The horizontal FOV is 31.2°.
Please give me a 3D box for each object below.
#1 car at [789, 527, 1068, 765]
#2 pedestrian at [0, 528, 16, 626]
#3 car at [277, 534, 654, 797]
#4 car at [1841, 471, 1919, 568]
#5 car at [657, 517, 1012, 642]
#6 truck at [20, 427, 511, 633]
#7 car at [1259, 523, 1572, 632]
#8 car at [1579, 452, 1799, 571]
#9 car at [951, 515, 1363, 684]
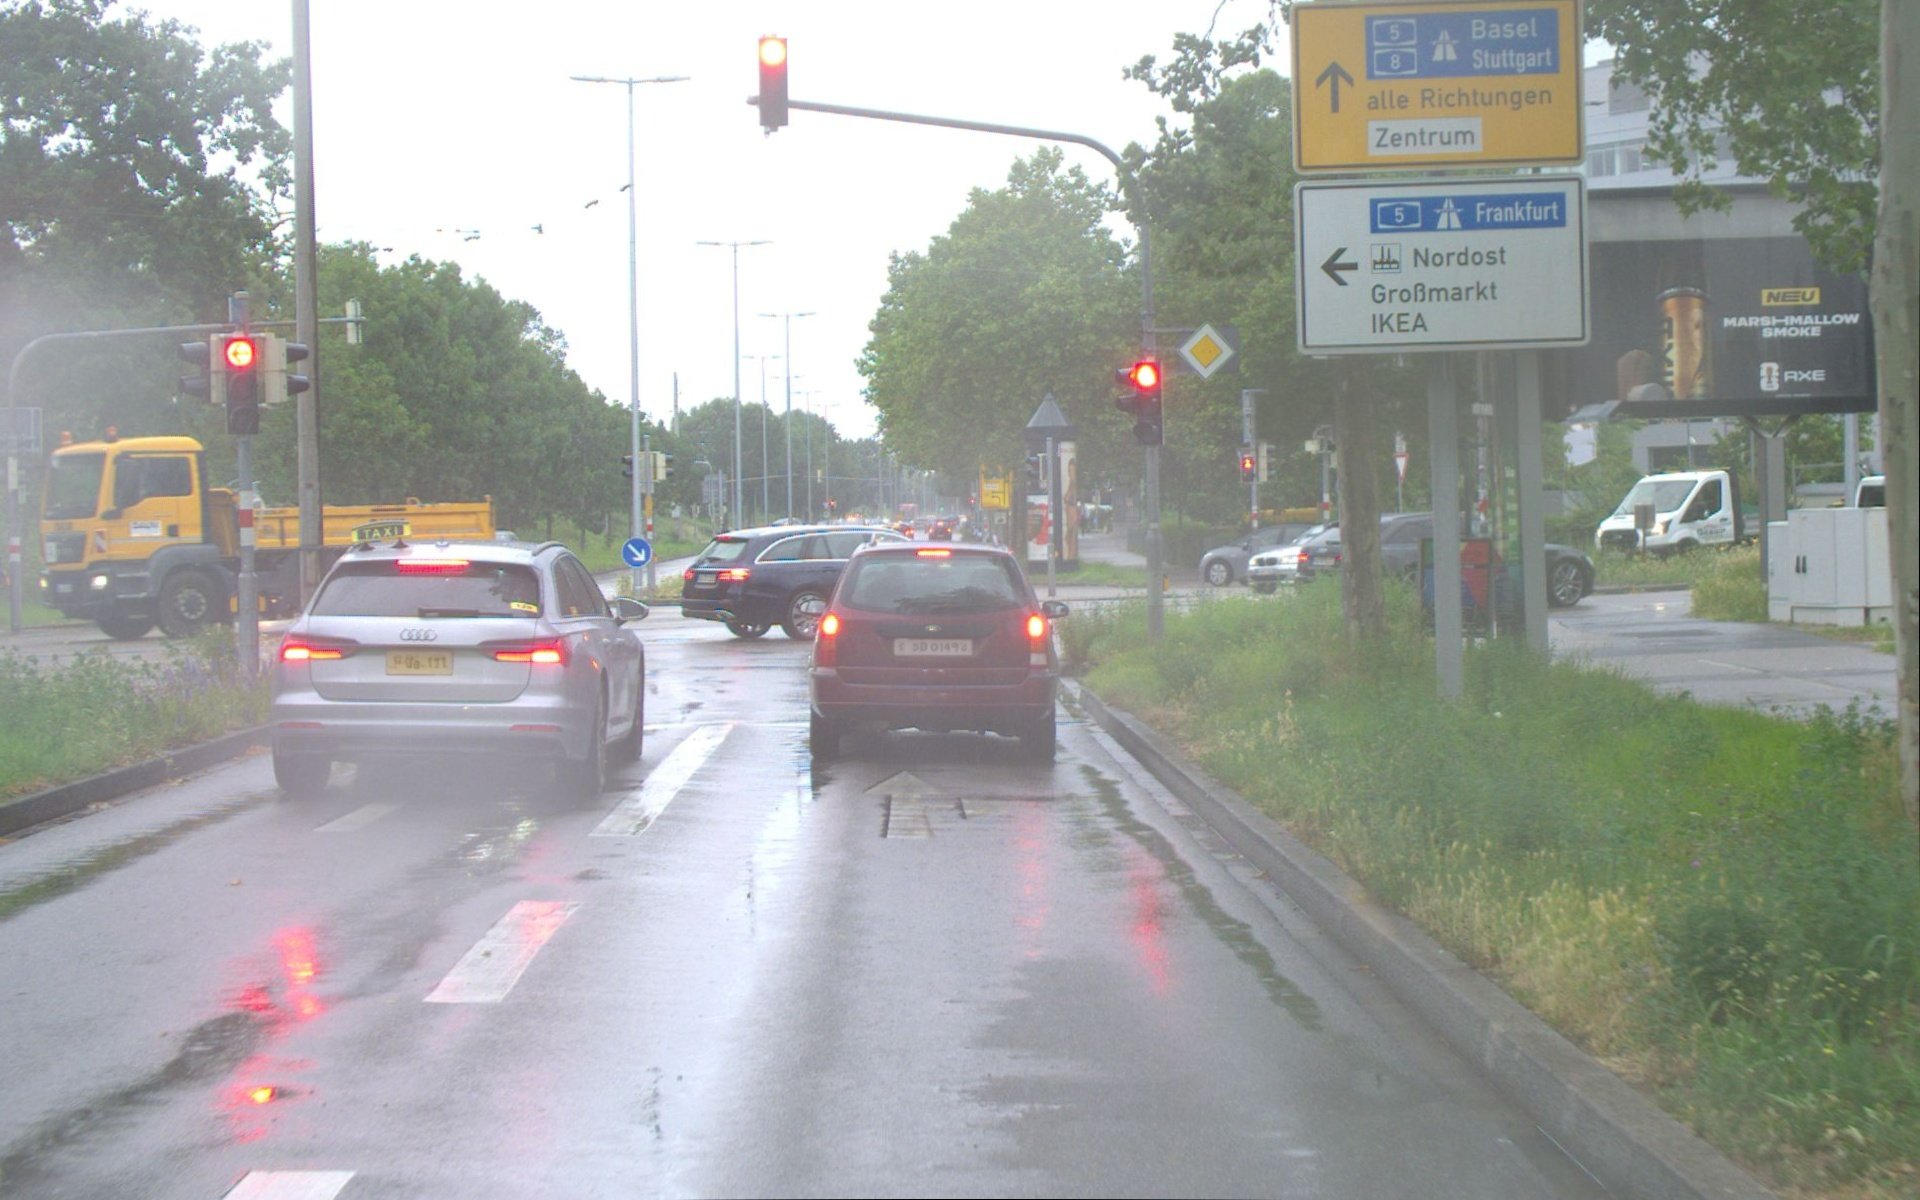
[{"bbox_3d":[-0.232,0.265,24.624,1.796,1.532,4.387,1,1,-1],"label":"car"},{"bbox_3d":[-17.516,-0.417,62.235,0.533,1.779,0.673,1,0,17],"label":"pedestrian"},{"bbox_3d":[-2.896,0.321,21.010,1.690,1.428,4.574,0,1,-1],"label":"car"},{"bbox_3d":[16.796,-1.343,56.622,4.372,1.532,1.802,-2,1,-29],"label":"car"},{"bbox_3d":[-1.659,-0.292,45.843,4.372,1.532,1.802,-2,1,-29],"label":"car"},{"bbox_3d":[-10.789,-1.118,53.791,7.027,3.043,2.646,-2,1,-37],"label":"truck"},{"bbox_3d":[6.723,-0.358,50.691,4.372,1.532,1.802,-1,1,-29],"label":"car"},{"bbox_3d":[14.874,-1.813,70.031,4.374,2.183,1.802,-4,3,-35],"label":"car"},{"bbox_3d":[2.183,-0.059,37.261,4.375,1.531,1.801,-5,4,-40],"label":"car"}]
